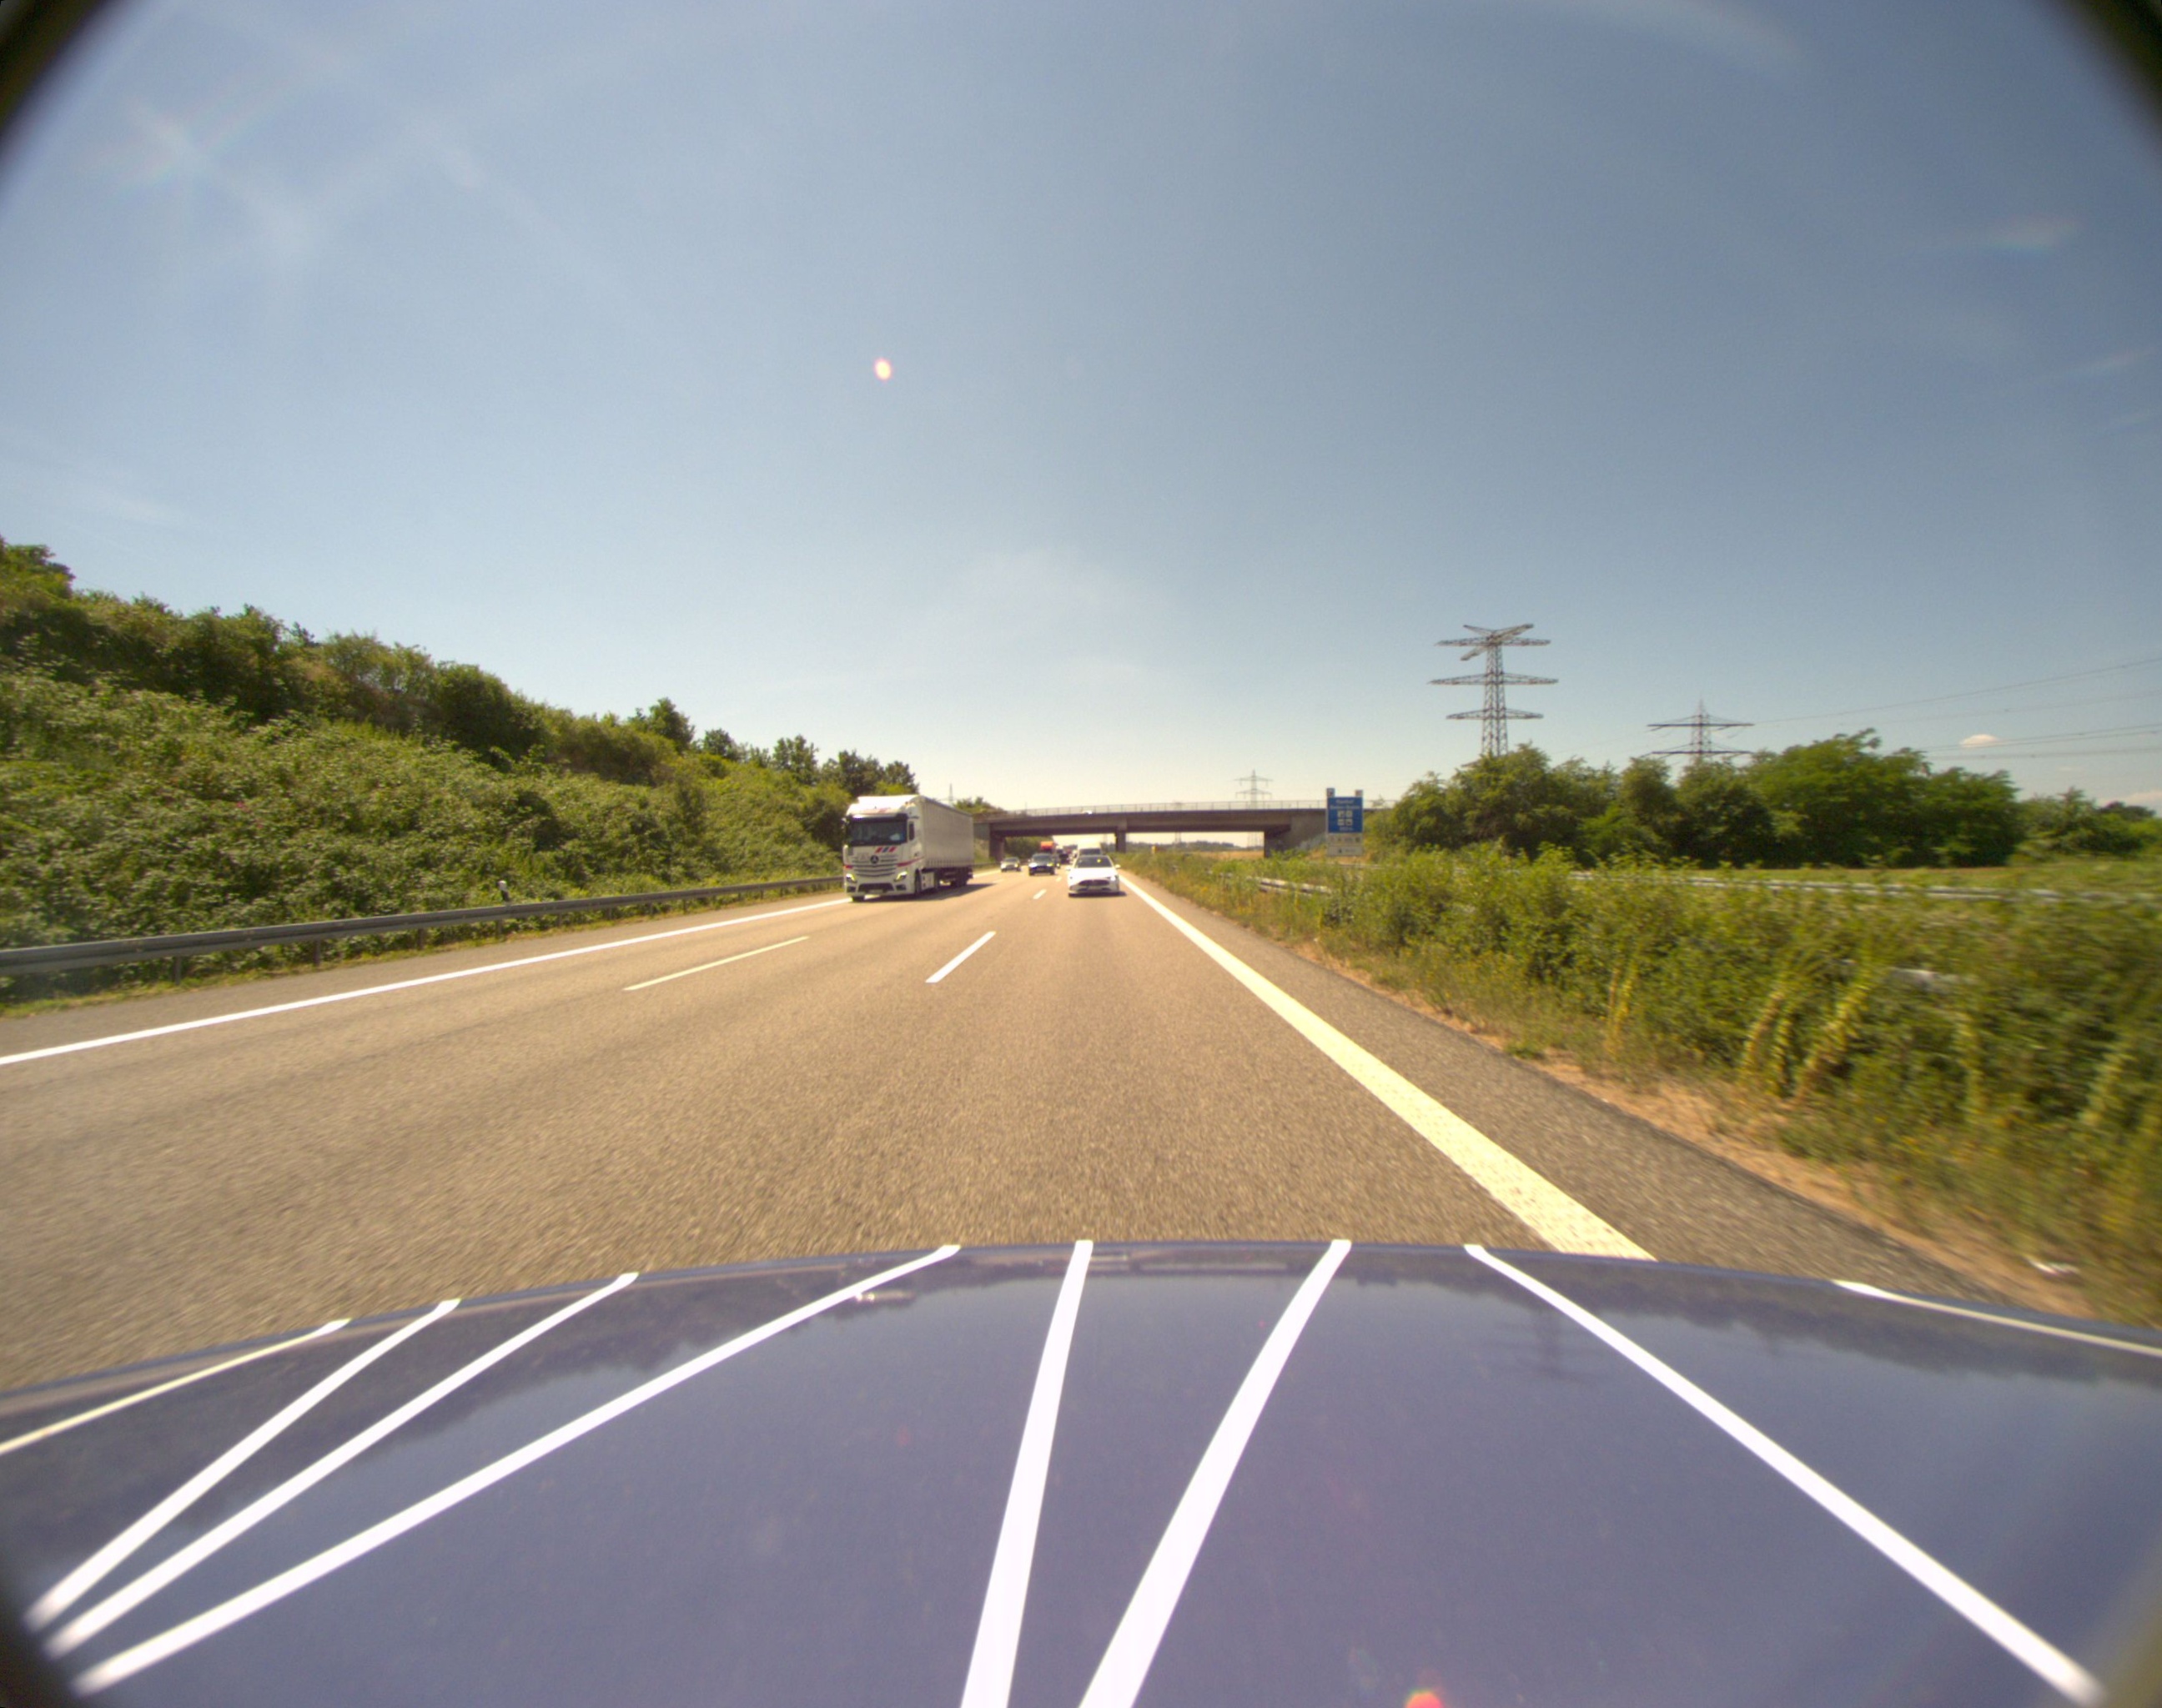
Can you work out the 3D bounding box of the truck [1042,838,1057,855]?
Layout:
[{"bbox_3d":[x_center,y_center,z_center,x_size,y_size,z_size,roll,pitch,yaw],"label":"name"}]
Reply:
[{"bbox_3d":[-6.034,-1.416,147.735,2.581,3.204,5.712,-3,1,0],"label":"truck"}]

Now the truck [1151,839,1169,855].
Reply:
[{"bbox_3d":[20.010,-1.742,192.677,3.520,3.840,8.661,-2,0,1],"label":"truck"}]

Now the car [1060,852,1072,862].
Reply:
[{"bbox_3d":[-2.461,0.488,126.264,1.984,1.525,4.137,-1,0,0],"label":"car"}]

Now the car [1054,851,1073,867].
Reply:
[{"bbox_3d":[-1.892,0.558,82.750,1.984,1.671,4.558,0,0,0],"label":"car"}]

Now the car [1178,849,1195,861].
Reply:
[{"bbox_3d":[15.049,0.158,108.208,1.846,1.642,4.013,-2,0,0],"label":"car"}]

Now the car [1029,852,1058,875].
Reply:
[{"bbox_3d":[-2.827,0.689,58.530,1.984,1.671,4.558,-1,0,0],"label":"car"}]

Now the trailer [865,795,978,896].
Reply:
[{"bbox_3d":[-7.414,-0.395,37.690,2.735,4.079,13.187,-1,0,0],"label":"trailer"}]

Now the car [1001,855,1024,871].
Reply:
[{"bbox_3d":[-6.844,0.866,75.918,1.840,1.403,4.558,-2,0,0],"label":"car"}]

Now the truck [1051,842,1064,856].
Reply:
[{"bbox_3d":[-6.737,-1.408,215.330,3.507,3.891,9.646,-1,1,-1],"label":"truck"}]

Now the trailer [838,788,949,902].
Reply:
[{"bbox_3d":[-7.402,-0.358,31.009,2.720,4.079,6.788,-1,0,0],"label":"trailer"}]

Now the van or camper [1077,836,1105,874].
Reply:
[{"bbox_3d":[0.836,0.080,59.022,1.998,2.740,5.410,-2,0,2],"label":"van or camper"}]

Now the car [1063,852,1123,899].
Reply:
[{"bbox_3d":[0.414,0.738,28.455,1.984,1.525,4.558,-3,0,0],"label":"car"}]
